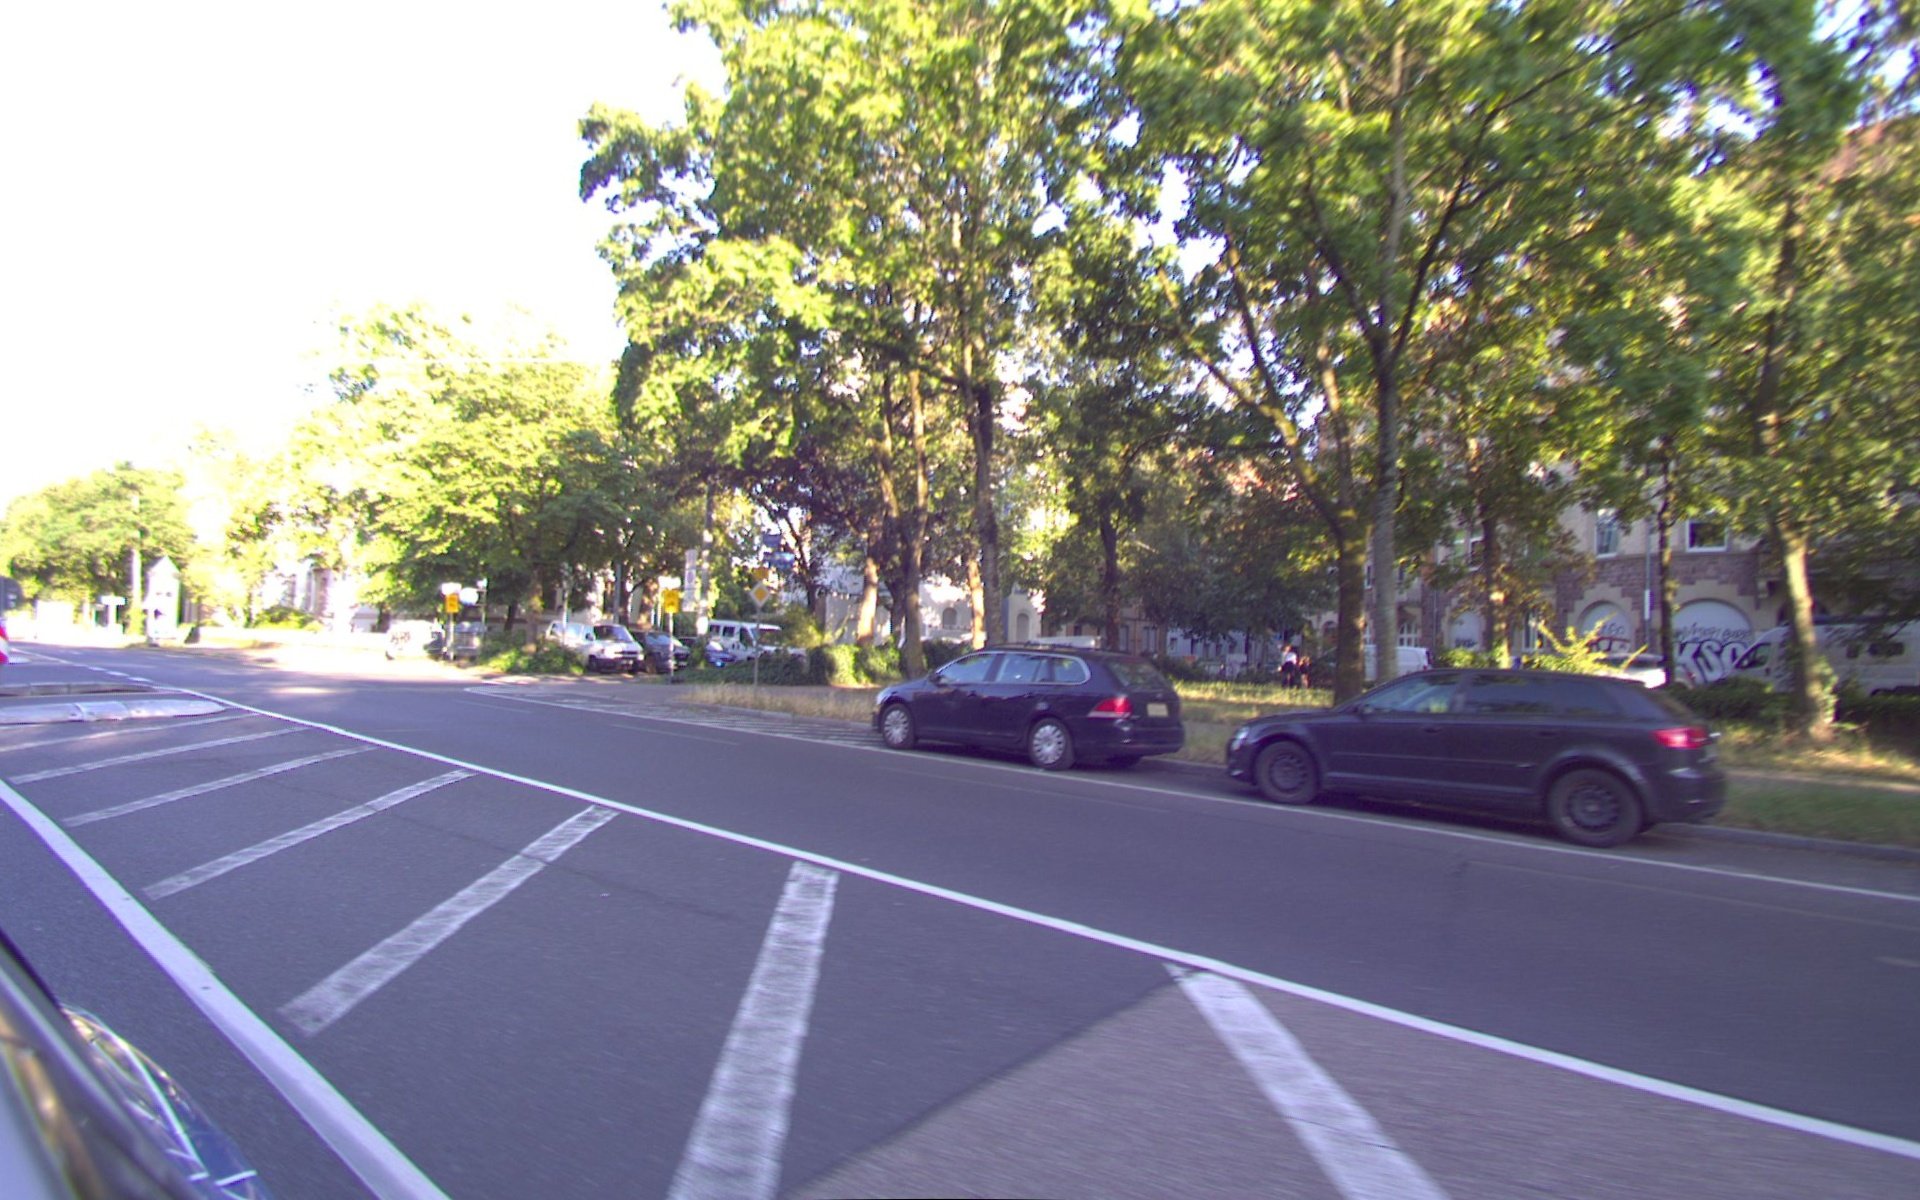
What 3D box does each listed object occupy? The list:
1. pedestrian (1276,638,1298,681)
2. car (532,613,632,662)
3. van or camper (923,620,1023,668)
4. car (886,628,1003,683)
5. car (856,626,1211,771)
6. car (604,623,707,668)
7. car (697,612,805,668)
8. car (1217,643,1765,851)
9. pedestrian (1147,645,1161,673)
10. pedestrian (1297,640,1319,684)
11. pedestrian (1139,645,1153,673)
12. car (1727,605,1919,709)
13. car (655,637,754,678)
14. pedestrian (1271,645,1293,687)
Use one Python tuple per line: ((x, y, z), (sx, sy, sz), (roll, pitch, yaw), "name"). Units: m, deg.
((10.746, 1.948, 33.249), (0.557, 1.406, 0.452), (-1, -4, 36), "pedestrian")
((-14.702, 1.424, 39.269), (3.995, 1.809, 1.801), (-1, -3, 38), "car")
((0.667, 2.379, 55.131), (5.425, 2.490, 2.044), (-1, -3, 41), "van or camper")
((-0.590, 2.010, 37.481), (3.995, 1.896, 1.974), (-1, -2, 38), "car")
((0.786, 1.150, 13.041), (4.544, 1.518, 1.606), (-1, -4, 43), "car")
((-12.114, 1.793, 40.234), (3.995, 1.674, 1.974), (-1, -3, 38), "car")
((-9.239, 1.721, 44.437), (2.190, 2.306, 5.101), (3, -3, -45), "car")
((4.707, 1.186, 9.394), (4.241, 1.440, 1.611), (-1, -5, 42), "car")
((14.174, 4.330, 73.990), (0.682, 2.029, 0.657), (4, -4, -43), "pedestrian")
((11.397, 2.038, 33.117), (0.557, 1.406, 0.452), (-1, -4, 36), "pedestrian")
((13.726, 4.337, 74.687), (0.682, 2.029, 0.657), (4, -4, -43), "pedestrian")
((23.723, 1.500, 26.746), (2.235, 2.504, 5.248), (2, -3, -14), "car")
((-10.712, 2.374, 42.349), (3.995, 1.551, 1.974), (-1, -3, 38), "car")
((10.887, 2.222, 34.239), (0.450, 1.406, 0.560), (3, -3, -18), "pedestrian")
